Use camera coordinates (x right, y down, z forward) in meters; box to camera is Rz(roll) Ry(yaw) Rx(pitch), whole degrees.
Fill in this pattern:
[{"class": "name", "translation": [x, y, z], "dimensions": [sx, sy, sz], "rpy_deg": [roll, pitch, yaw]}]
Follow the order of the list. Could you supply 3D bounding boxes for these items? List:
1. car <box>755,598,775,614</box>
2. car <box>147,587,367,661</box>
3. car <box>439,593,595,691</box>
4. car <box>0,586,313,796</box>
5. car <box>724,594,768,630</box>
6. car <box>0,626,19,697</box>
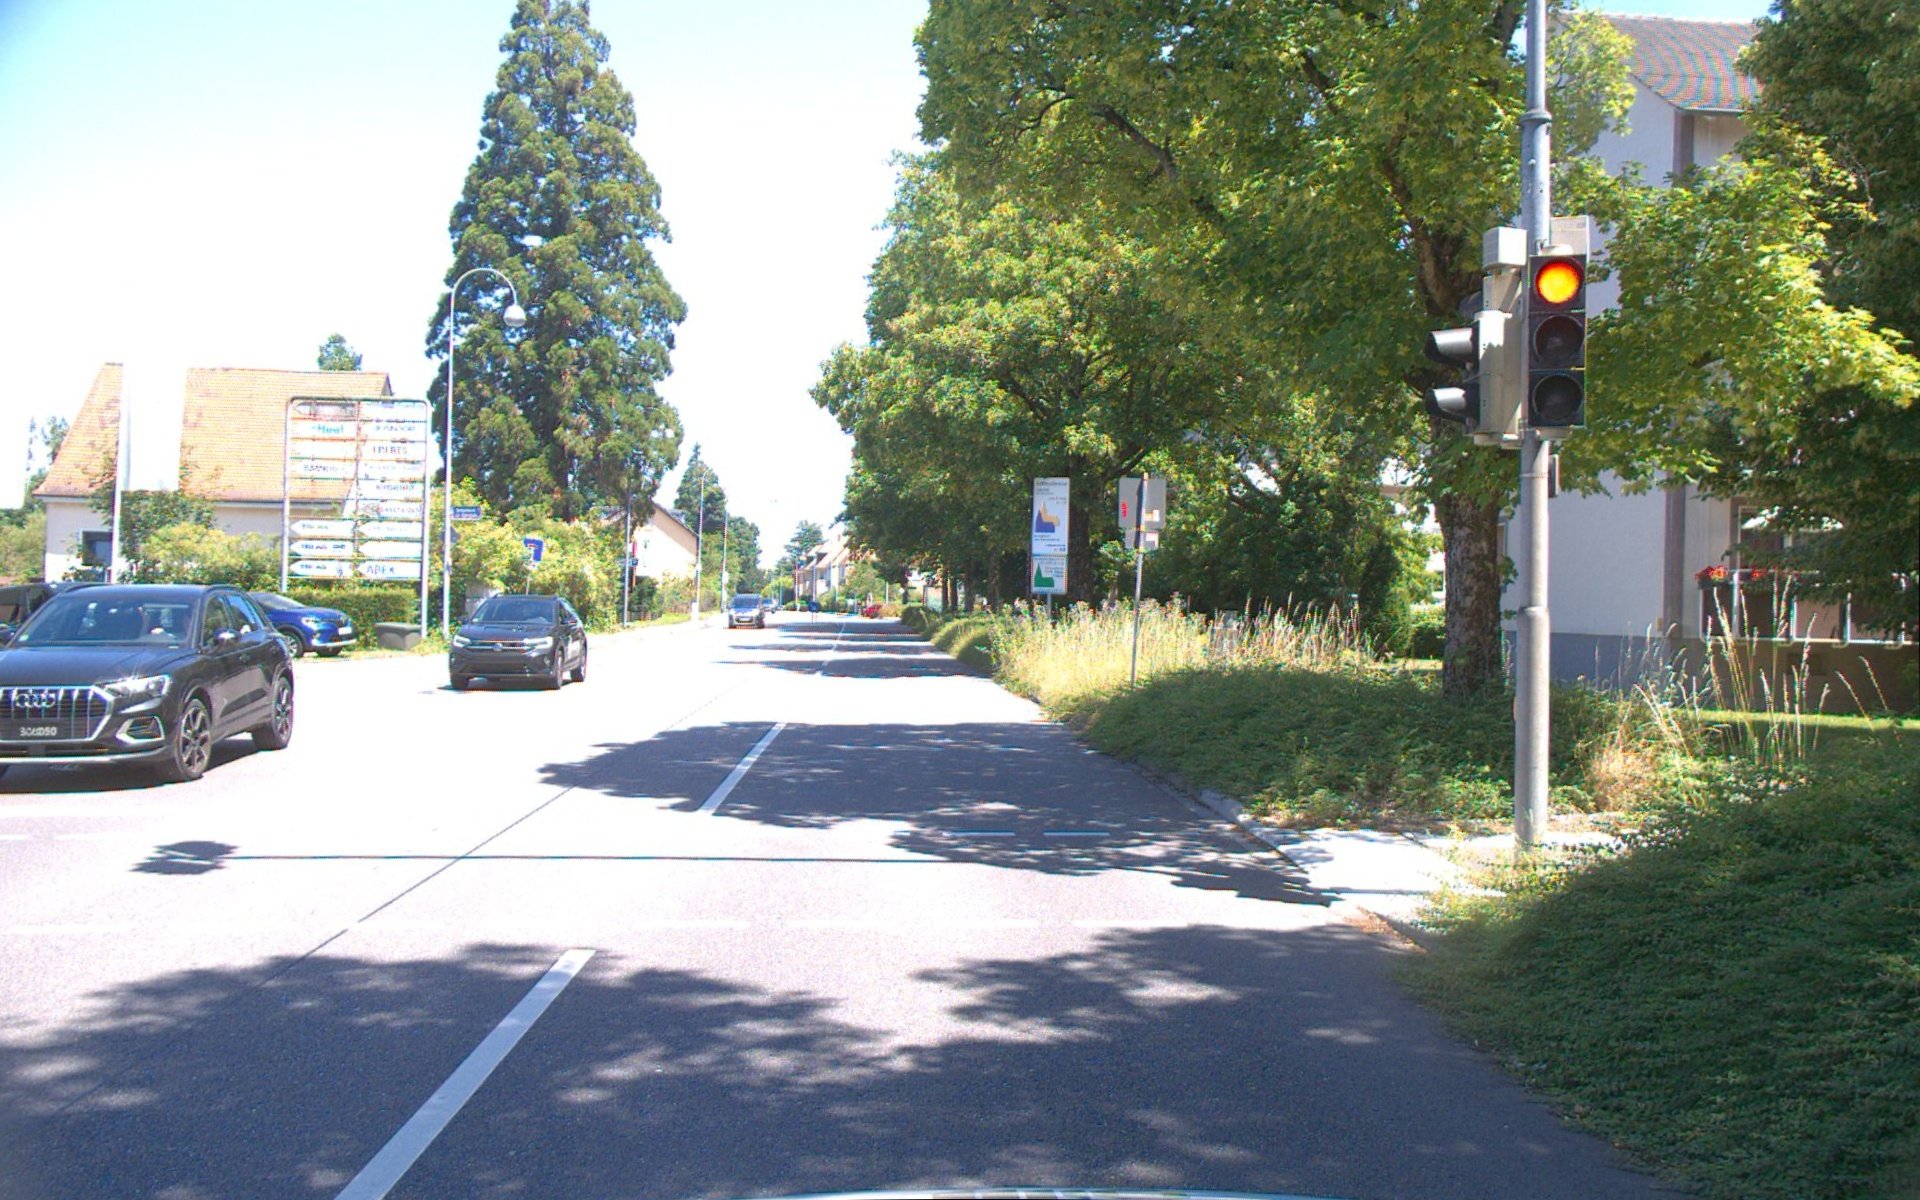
[{"class": "car", "translation": [-20.162, 0.624, 170.957], "dimensions": [1.758, 1.563, 4.312], "rpy_deg": [1, 0, -3]}, {"class": "car", "translation": [-15.212, 0.497, 35.885], "dimensions": [4.047, 1.531, 1.779], "rpy_deg": [0, 0, 8]}, {"class": "car", "translation": [-7.372, 0.656, 27.875], "dimensions": [1.832, 1.533, 4.049], "rpy_deg": [0, 0, -5]}, {"class": "car", "translation": [-7.283, 0.684, 14.648], "dimensions": [1.890, 1.582, 4.295], "rpy_deg": [0, 0, -8]}, {"class": "car", "translation": [-11.188, 0.609, 86.802], "dimensions": [1.774, 1.793, 4.569], "rpy_deg": [1, 0, -1]}, {"class": "car", "translation": [-24.647, 1.532, 40.085], "dimensions": [1.775, 1.752, 4.081], "rpy_deg": [1, 0, -8]}]
